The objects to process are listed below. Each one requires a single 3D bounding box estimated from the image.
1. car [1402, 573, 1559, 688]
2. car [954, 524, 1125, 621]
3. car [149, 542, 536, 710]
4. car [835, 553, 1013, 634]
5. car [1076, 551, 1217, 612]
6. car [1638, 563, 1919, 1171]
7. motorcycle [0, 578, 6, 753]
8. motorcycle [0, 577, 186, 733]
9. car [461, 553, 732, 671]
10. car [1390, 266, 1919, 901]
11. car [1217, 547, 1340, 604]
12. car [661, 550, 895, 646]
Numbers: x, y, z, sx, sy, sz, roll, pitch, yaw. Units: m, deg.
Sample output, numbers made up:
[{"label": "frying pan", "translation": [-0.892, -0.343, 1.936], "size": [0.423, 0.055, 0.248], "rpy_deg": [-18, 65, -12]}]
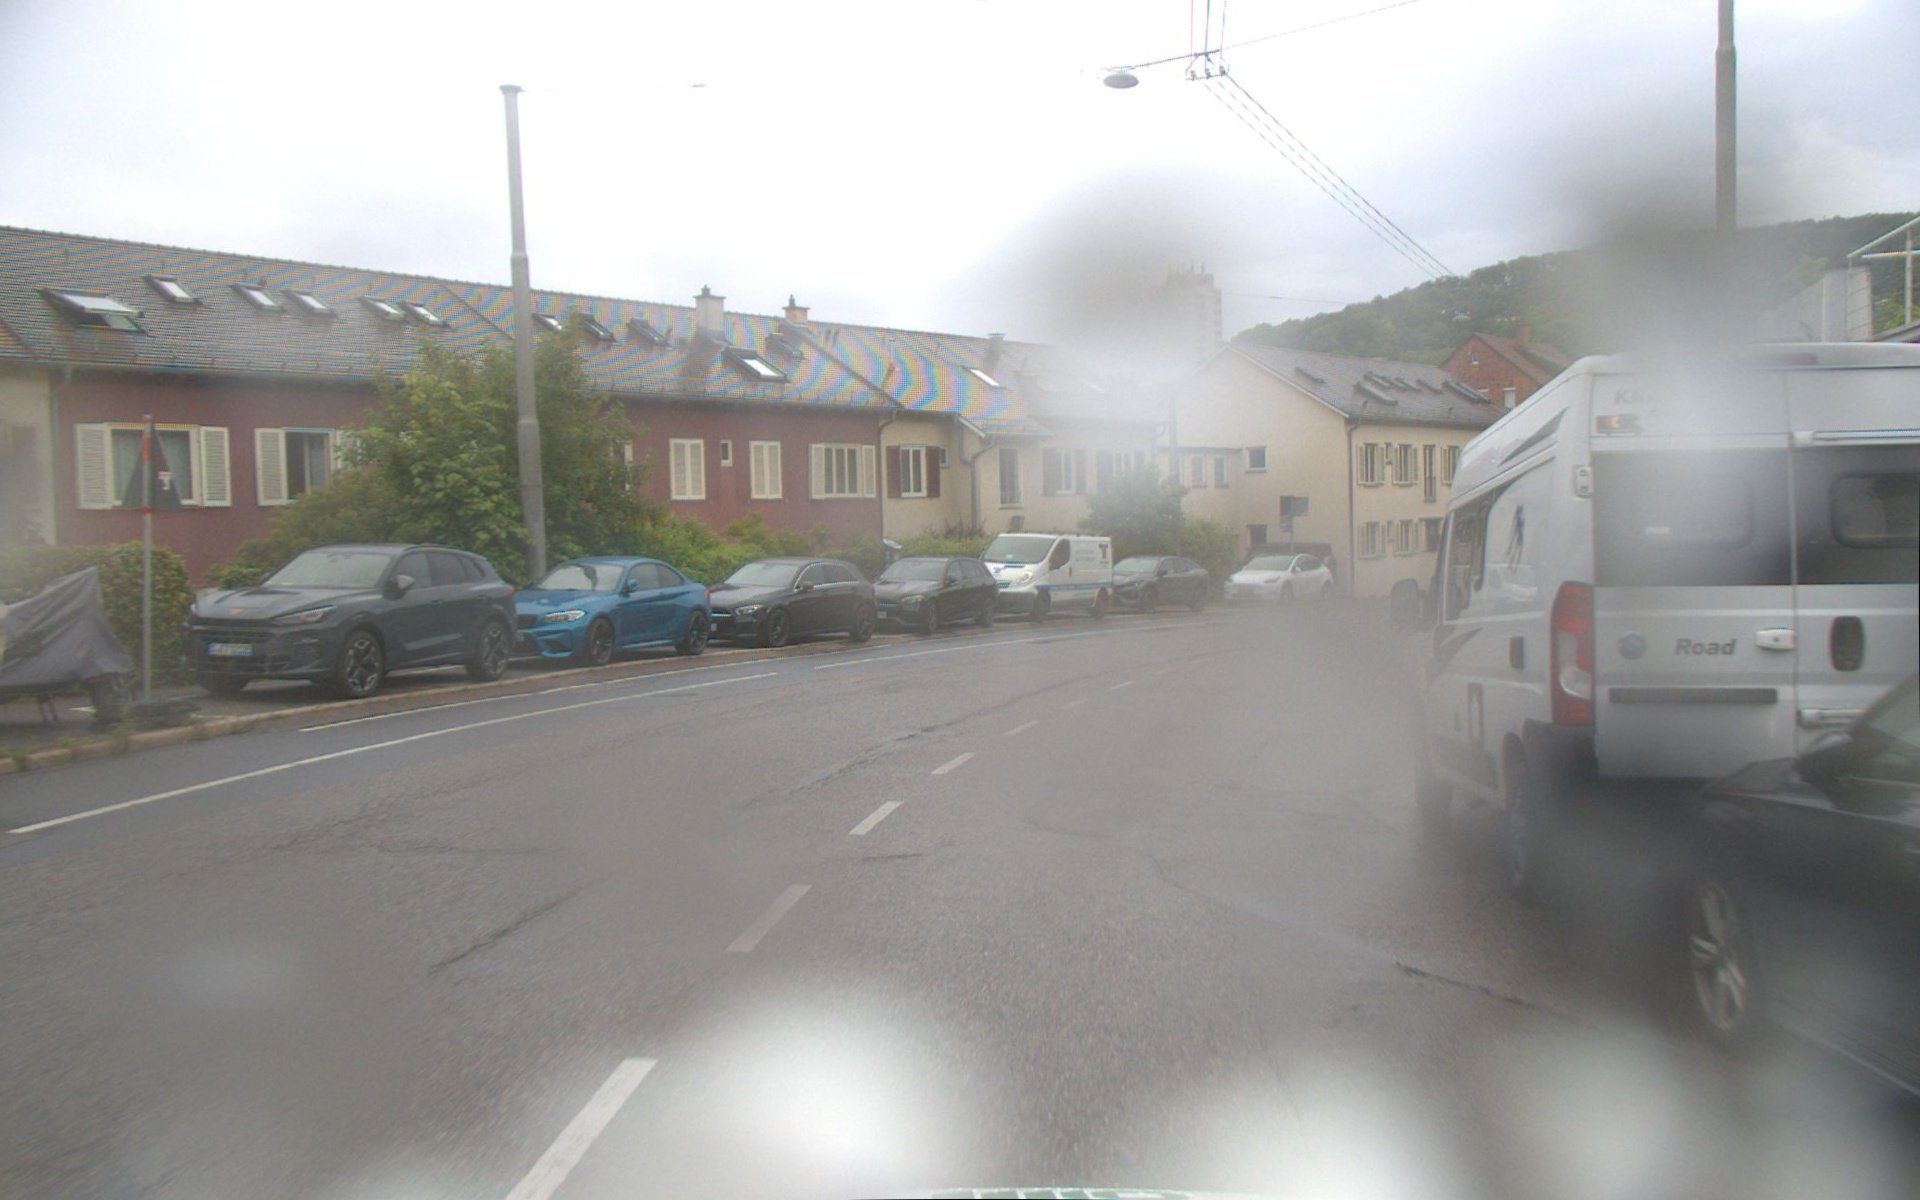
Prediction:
[{"label": "car", "translation": [7.800, 0.378, 24.570], "size": [1.645, 1.509, 4.198], "rpy_deg": [1, 2, 25]}, {"label": "car", "translation": [1.951, -0.684, 38.737], "size": [1.815, 2.115, 5.009], "rpy_deg": [2, 2, 31]}, {"label": "car", "translation": [-6.681, 0.178, 18.482], "size": [1.881, 1.604, 4.392], "rpy_deg": [1, 2, 14]}, {"label": "car", "translation": [-0.649, -0.197, 33.529], "size": [1.772, 1.502, 4.519], "rpy_deg": [1, 2, 25]}, {"label": "car", "translation": [5.007, -0.528, 43.825], "size": [1.777, 1.502, 4.507], "rpy_deg": [2, 2, 35]}, {"label": "car", "translation": [3.258, 0.659, 4.012], "size": [1.717, 1.522, 4.186], "rpy_deg": [-2, 1, 4]}, {"label": "motorcycle", "translation": [-8.079, 0.468, 12.867], "size": [1.775, 1.326, 0.610], "rpy_deg": [3, 3, 42]}, {"label": "motorcycle", "translation": [-7.778, 0.460, 14.339], "size": [1.871, 1.293, 0.572], "rpy_deg": [0, 2, -19]}, {"label": "car", "translation": [-4.995, 0.082, 23.384], "size": [1.664, 1.429, 4.475], "rpy_deg": [2, 3, 19]}, {"label": "car", "translation": [3.926, -0.077, 9.616], "size": [2.054, 2.587, 5.624], "rpy_deg": [-2, 0, 8]}, {"label": "car", "translation": [9.761, -0.767, 50.442], "size": [1.897, 1.659, 4.660], "rpy_deg": [2, 2, 36]}, {"label": "car", "translation": [-3.017, -0.094, 28.454], "size": [1.774, 1.502, 4.516], "rpy_deg": [1, 2, 28]}]
